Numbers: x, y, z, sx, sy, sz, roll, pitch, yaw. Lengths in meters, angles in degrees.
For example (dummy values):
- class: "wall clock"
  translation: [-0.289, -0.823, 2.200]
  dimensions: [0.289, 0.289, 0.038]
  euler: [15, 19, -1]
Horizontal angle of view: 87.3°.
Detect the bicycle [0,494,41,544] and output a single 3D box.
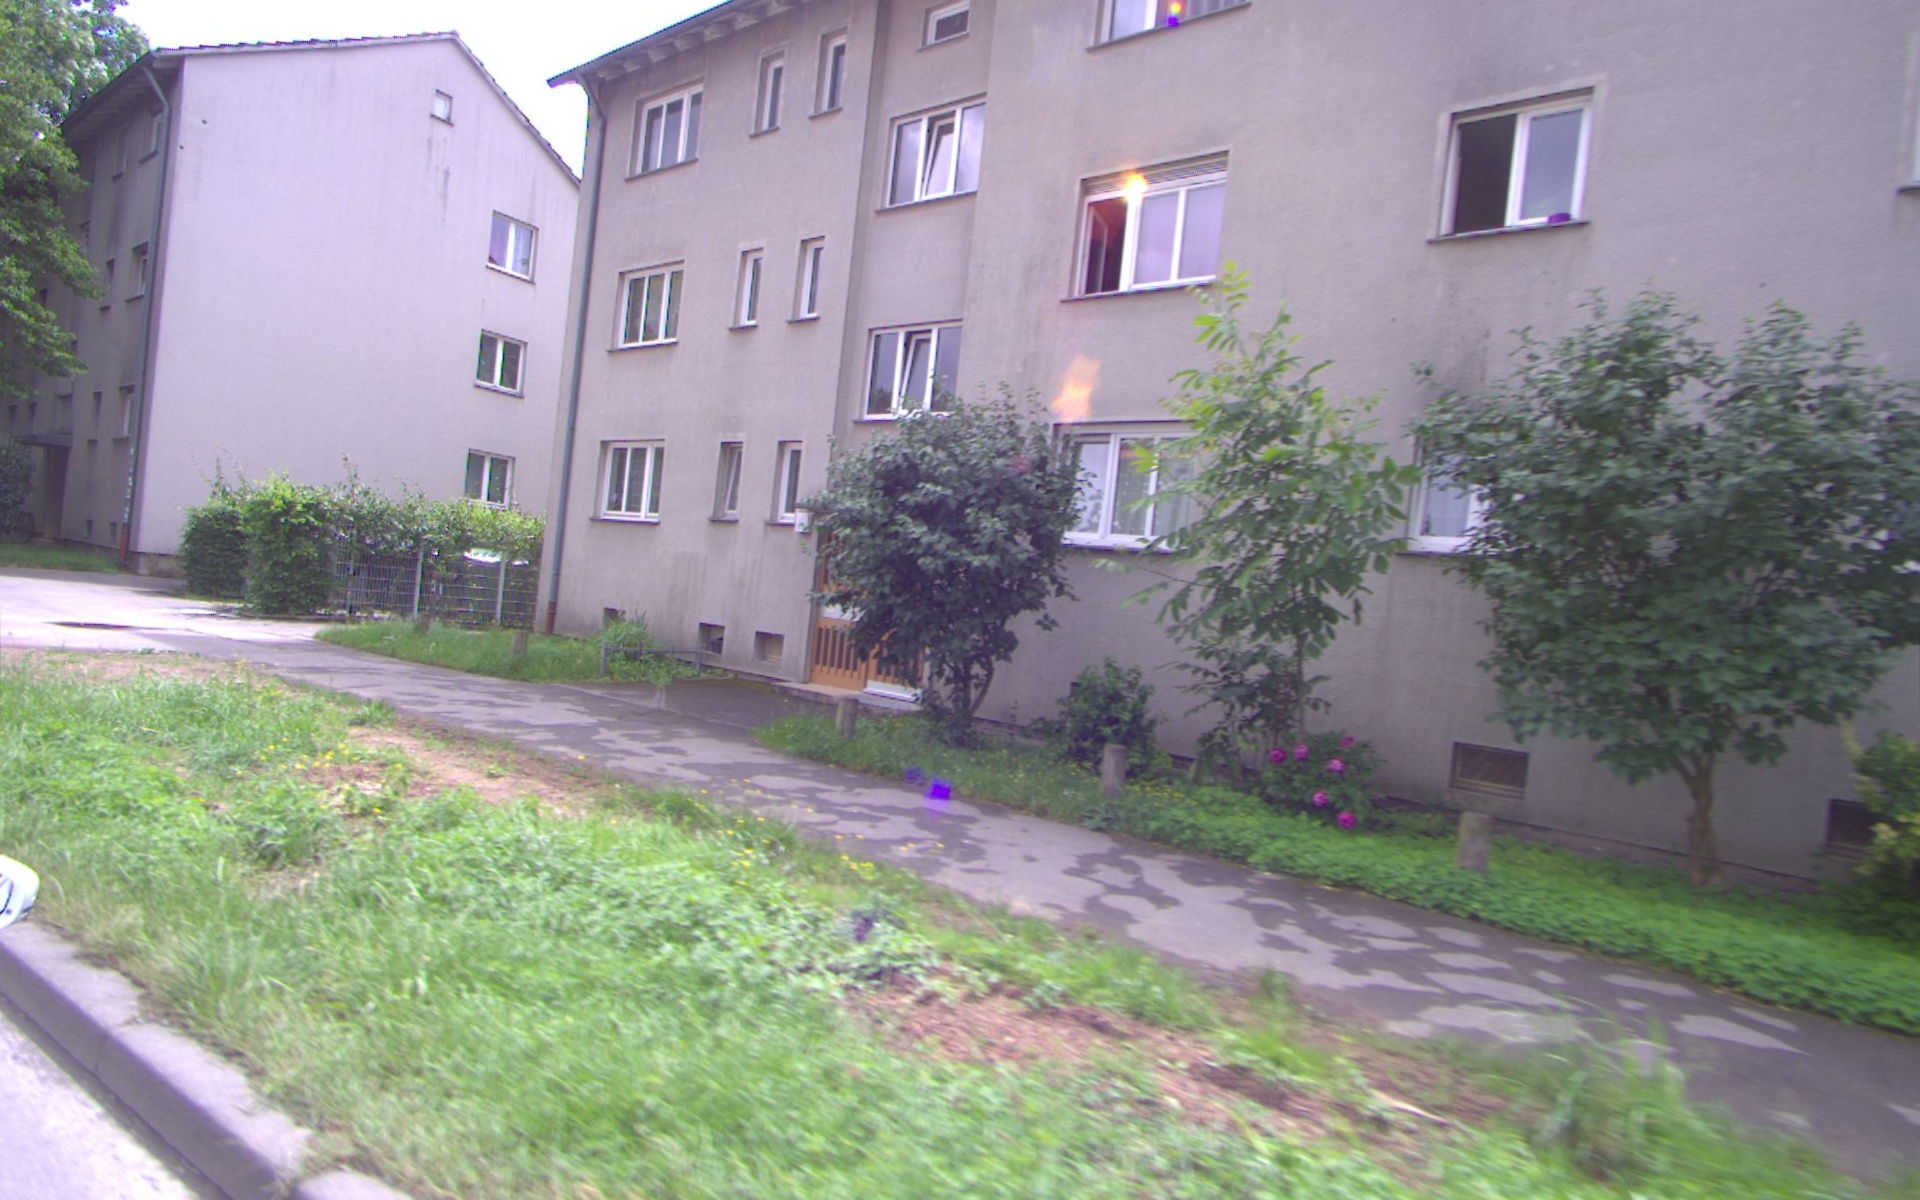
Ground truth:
- class: "bicycle"
  translation: [-23.290, -2.022, 24.225]
  dimensions: [1.723, 1.093, 0.436]
  euler: [8, -1, -4]
